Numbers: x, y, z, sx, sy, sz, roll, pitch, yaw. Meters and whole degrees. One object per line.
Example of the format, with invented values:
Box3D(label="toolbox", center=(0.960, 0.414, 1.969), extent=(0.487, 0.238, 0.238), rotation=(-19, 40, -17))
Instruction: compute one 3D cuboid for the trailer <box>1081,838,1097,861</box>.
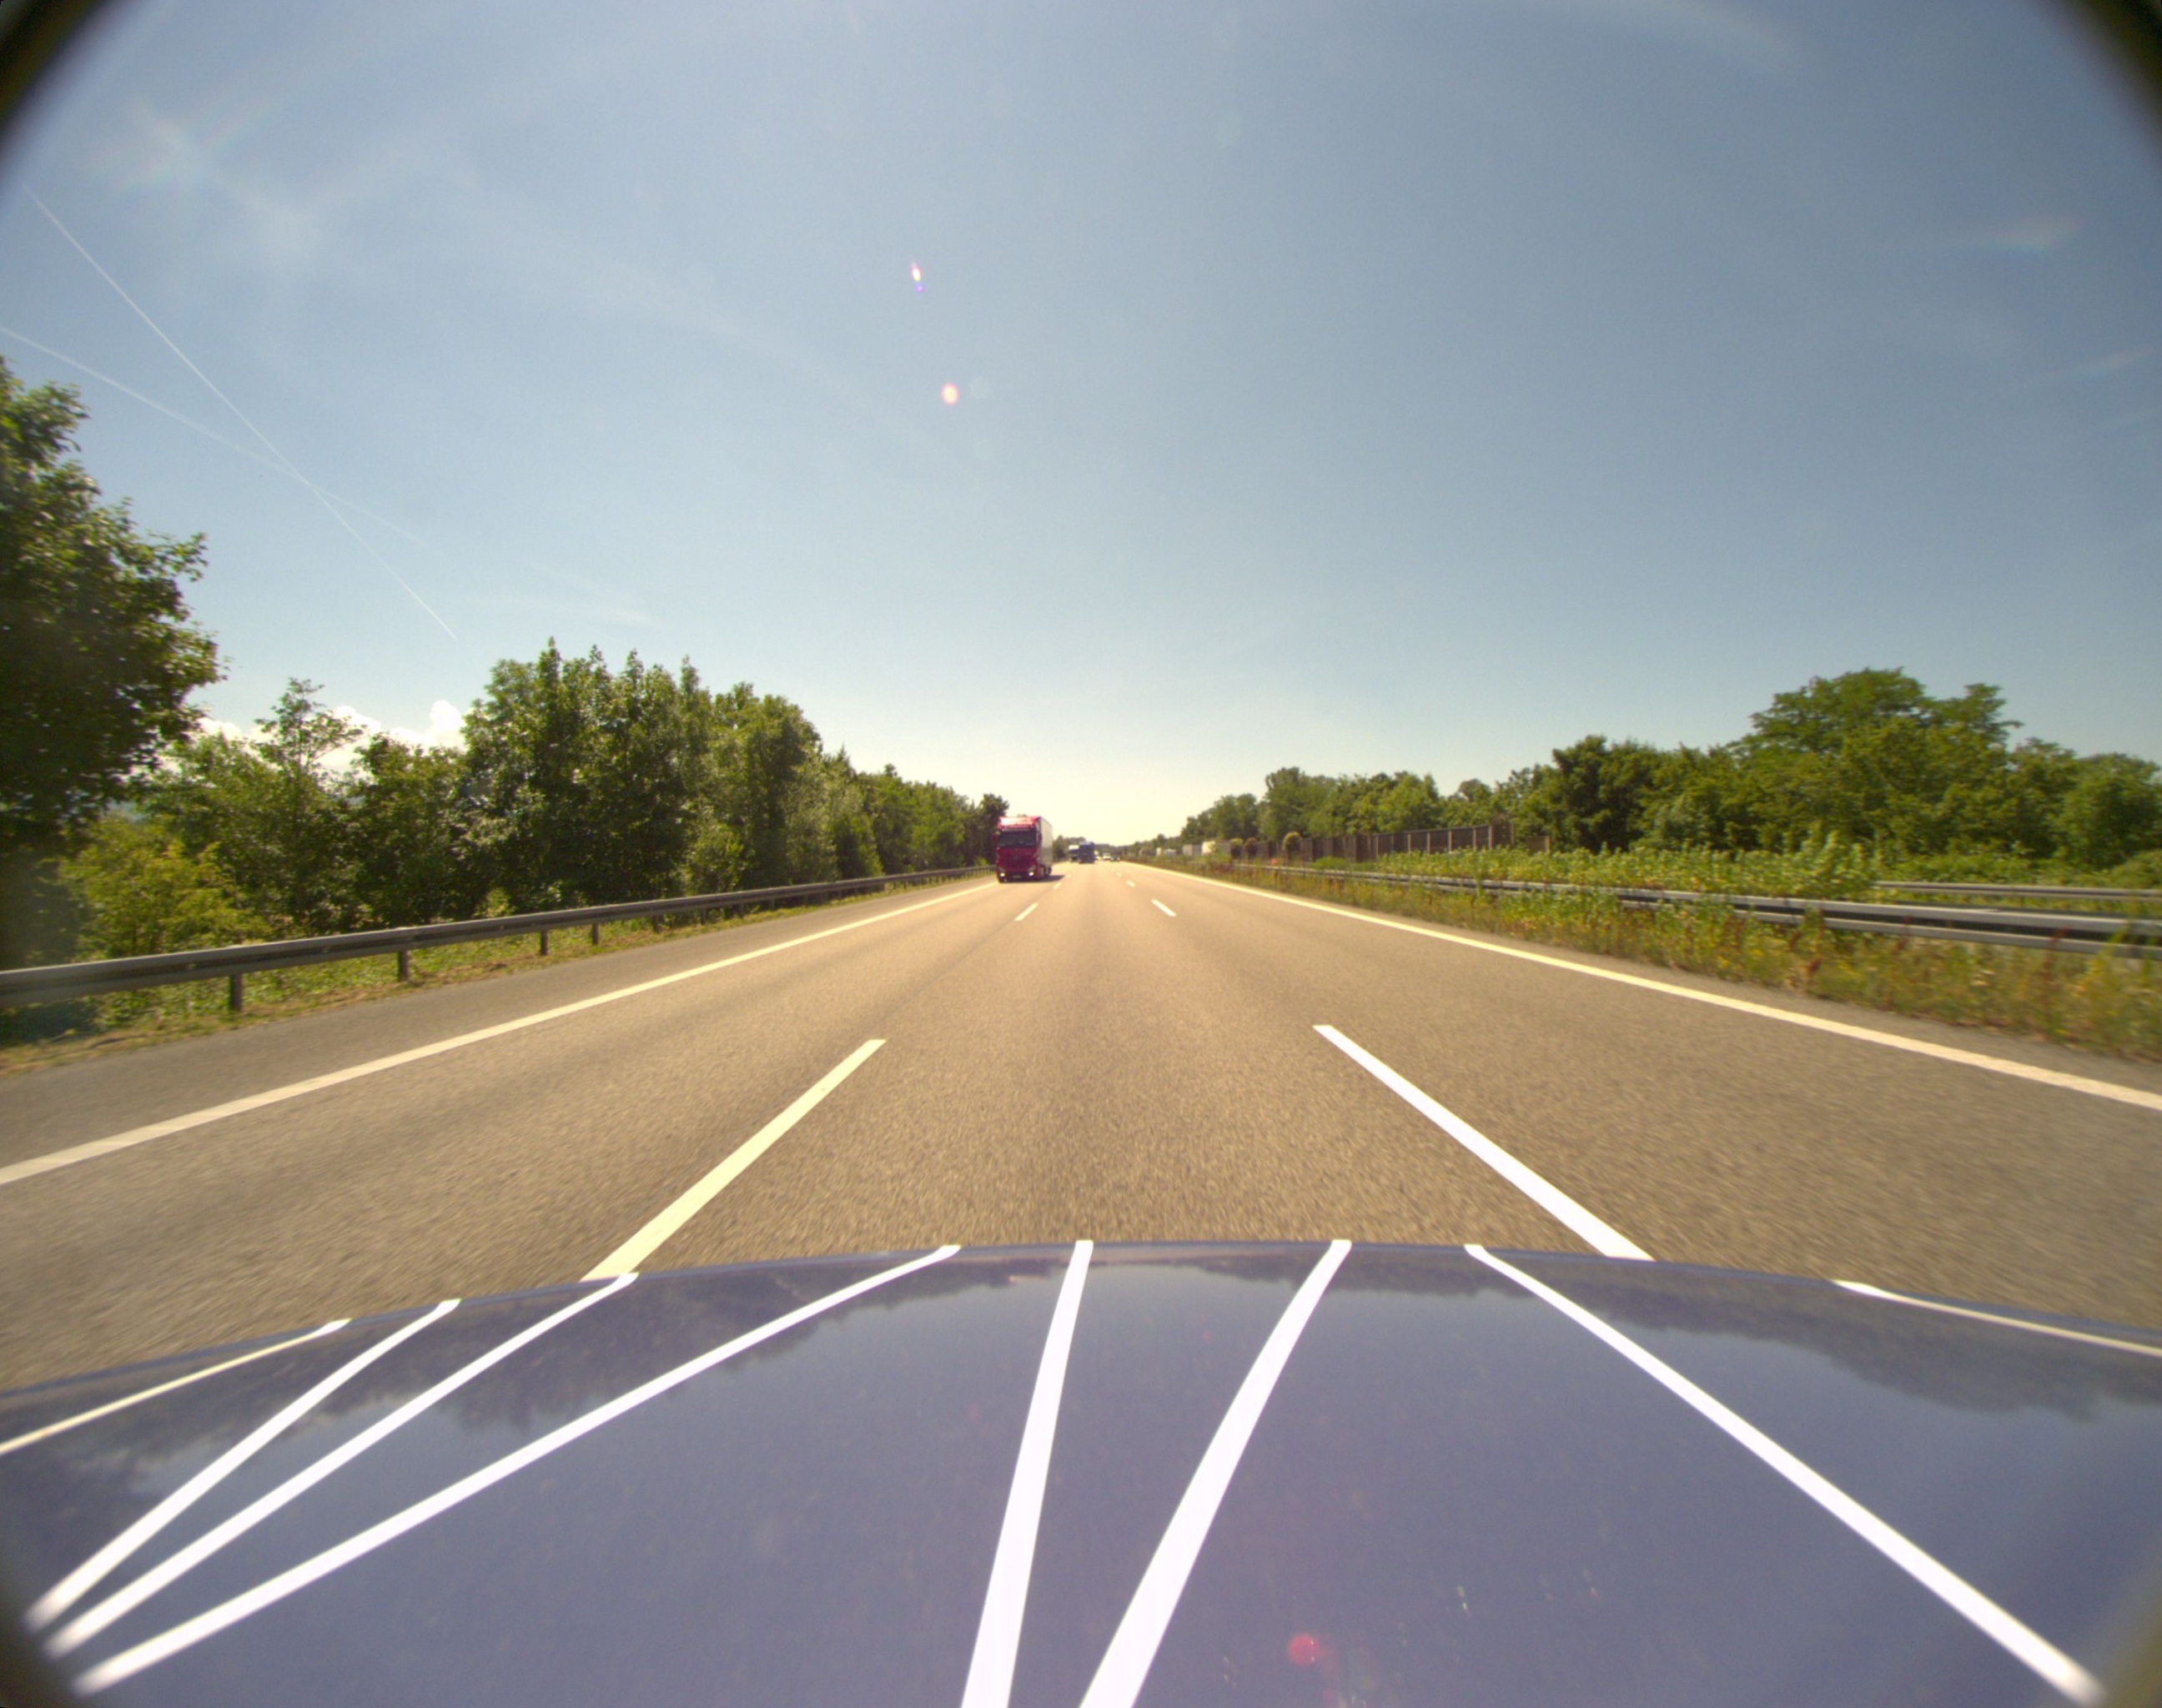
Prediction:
Box3D(label="trailer", center=(1.525, -0.833, 145.953), extent=(2.707, 4.093, 12.134), rotation=(-2, -1, 2))

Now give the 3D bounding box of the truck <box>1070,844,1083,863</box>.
Box3D(label="truck", center=(-0.960, -0.080, 179.919), extent=(2.820, 4.138, 10.449), rotation=(-2, -1, 1))

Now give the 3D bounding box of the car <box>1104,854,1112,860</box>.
Box3D(label="car", center=(6.997, 0.850, 197.530), extent=(1.855, 1.559, 4.001), rotation=(-2, -1, 1))

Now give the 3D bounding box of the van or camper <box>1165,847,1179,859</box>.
Box3D(label="van or camper", center=(20.719, -0.268, 173.986), extent=(2.471, 2.561, 7.411), rotation=(-1, 0, 2))

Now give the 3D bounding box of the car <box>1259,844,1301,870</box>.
Box3D(label="car", center=(14.130, 0.223, 54.070), extent=(1.998, 1.694, 4.001), rotation=(-2, 0, 1))

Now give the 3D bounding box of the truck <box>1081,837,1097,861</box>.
Box3D(label="truck", center=(1.418, -0.894, 139.059), extent=(2.707, 4.093, 6.991), rotation=(-2, 0, 1))

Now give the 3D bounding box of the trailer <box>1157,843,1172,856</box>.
Box3D(label="trailer", center=(26.319, -1.345, 241.024), extent=(3.619, 4.079, 12.797), rotation=(0, 0, 1))

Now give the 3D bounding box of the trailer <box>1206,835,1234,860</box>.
Box3D(label="trailer", center=(24.176, -1.049, 132.751), extent=(2.849, 4.149, 12.222), rotation=(-2, 0, 2))

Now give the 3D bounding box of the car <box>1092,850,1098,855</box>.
Box3D(label="car", center=(4.366, -0.455, 232.047), extent=(1.855, 1.559, 4.000), rotation=(-4, 0, 1))

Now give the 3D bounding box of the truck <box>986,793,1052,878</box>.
Box3D(label="truck", center=(-3.782, -1.048, 47.992), extent=(3.242, 4.860, 6.973), rotation=(-2, 0, 2))

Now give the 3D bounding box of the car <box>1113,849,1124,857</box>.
Box3D(label="car", center=(7.667, -0.106, 156.829), extent=(2.045, 1.559, 4.001), rotation=(-2, -1, 1))

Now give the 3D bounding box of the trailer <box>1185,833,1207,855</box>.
Box3D(label="trailer", center=(25.082, -2.125, 166.518), extent=(3.174, 4.451, 12.953), rotation=(-1, 0, 2))

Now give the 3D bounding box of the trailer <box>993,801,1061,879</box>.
Box3D(label="trailer", center=(-3.561, -0.799, 54.227), extent=(3.277, 4.808, 14.031), rotation=(-2, -1, 2))
